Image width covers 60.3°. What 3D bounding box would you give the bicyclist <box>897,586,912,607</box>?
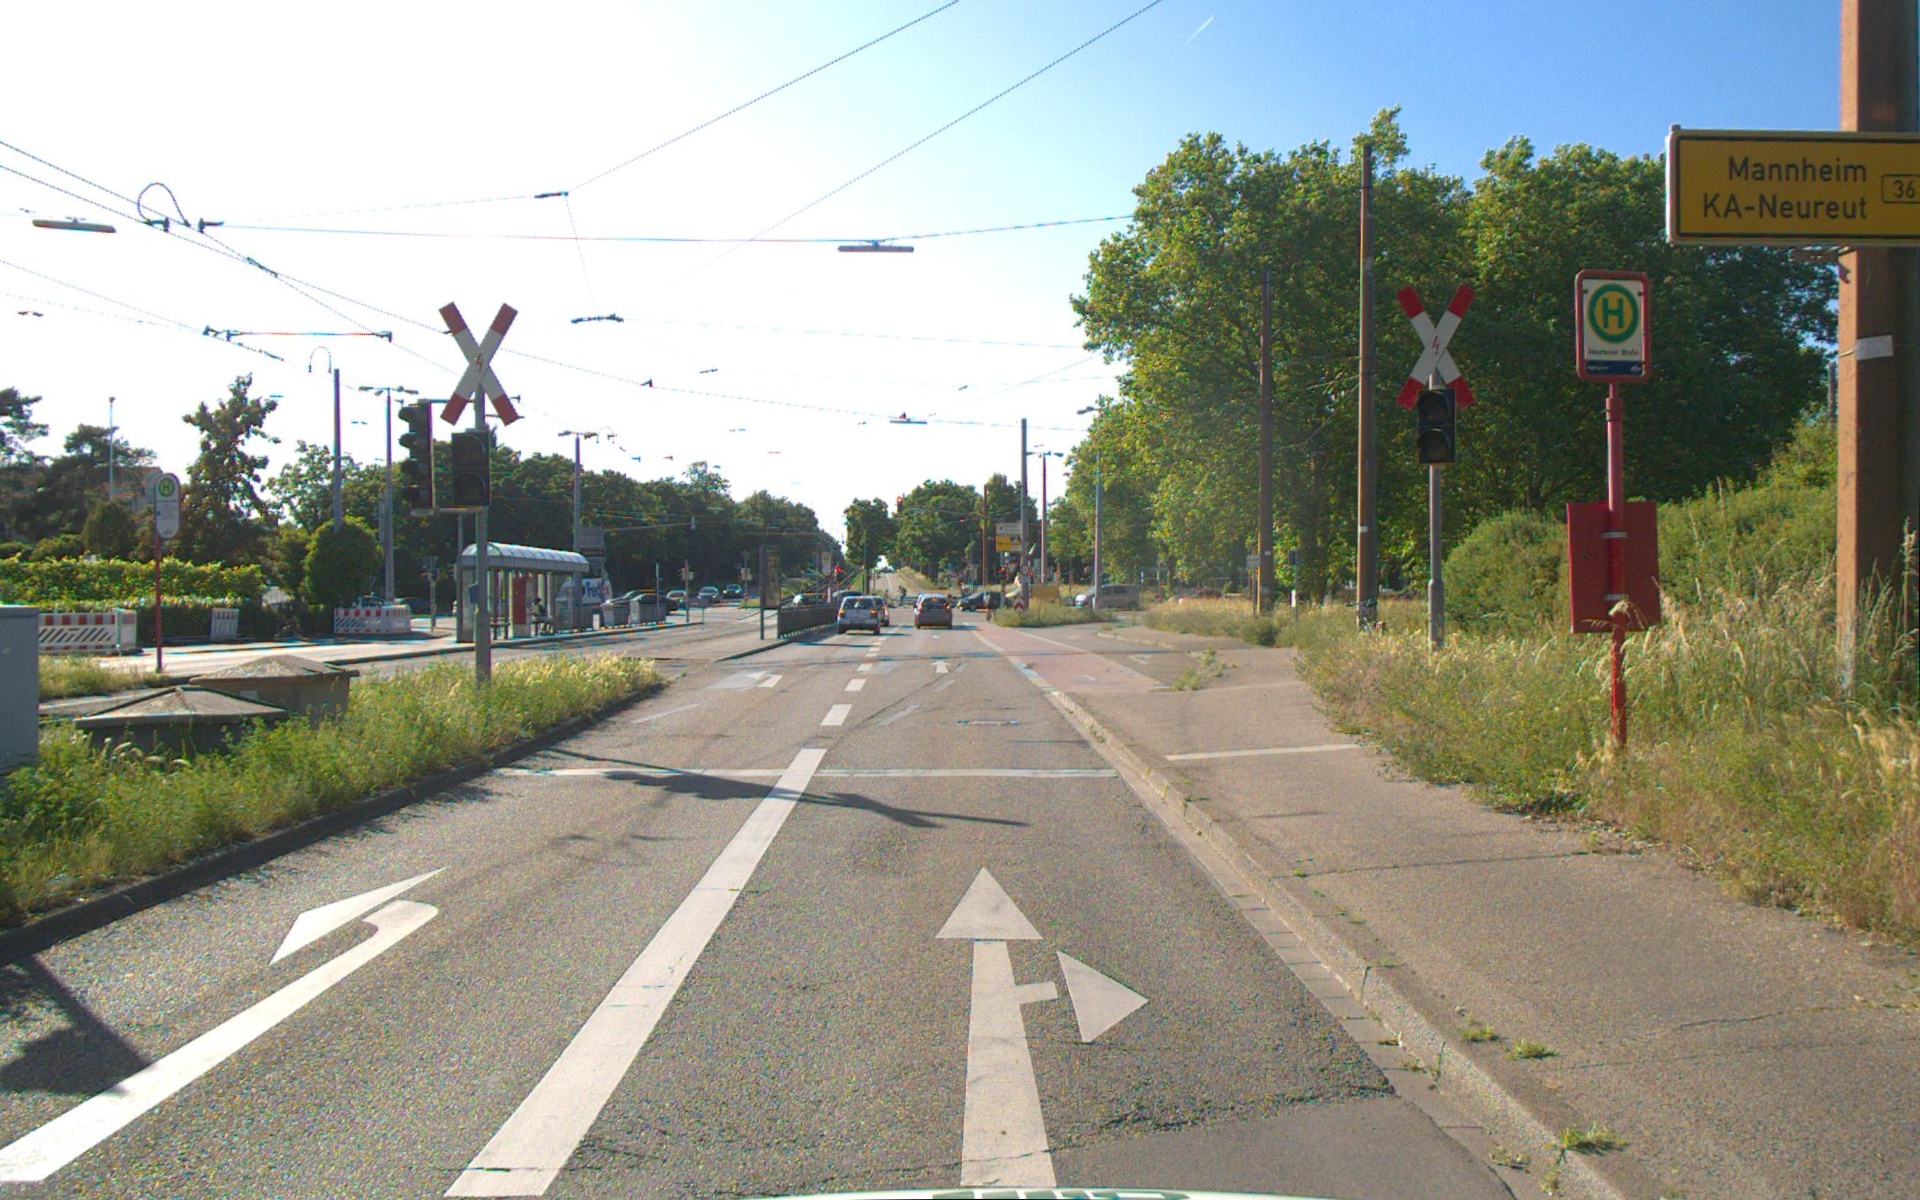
[{"bbox_3d":[-4.427,-0.266,132.411,0.991,1.676,0.813,0,0,-19],"label":"bicyclist"}]

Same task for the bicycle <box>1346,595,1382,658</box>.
[{"bbox_3d":[7.641,0.482,31.272,0.358,1.155,2.095,-1,0,22],"label":"bicycle"}]

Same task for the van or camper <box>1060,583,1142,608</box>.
[{"bbox_3d":[10.414,-0.337,122.290,5.853,1.860,1.997,0,0,-6],"label":"van or camper"}]

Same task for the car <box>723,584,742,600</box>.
[{"bbox_3d":[-23.709,-0.881,172.325,1.956,1.632,4.746,1,0,-8],"label":"car"}]

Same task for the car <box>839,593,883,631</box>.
[{"bbox_3d":[-3.840,0.466,64.562,1.586,1.442,3.350,-1,0,-1],"label":"car"}]

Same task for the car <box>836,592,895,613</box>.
[{"bbox_3d":[-6.951,0.176,121.476,3.932,1.499,1.740,1,-1,-23],"label":"car"}]

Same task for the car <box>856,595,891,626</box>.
[{"bbox_3d":[-4.324,0.522,82.735,1.586,1.483,4.084,1,0,-1],"label":"car"}]

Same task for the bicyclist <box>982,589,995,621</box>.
[{"bbox_3d":[1.600,0.299,91.382,0.652,1.746,0.948,1,-1,-1],"label":"bicyclist"}]

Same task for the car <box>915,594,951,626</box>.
[{"bbox_3d":[-1.266,0.452,77.316,1.635,1.487,3.585,0,0,-1],"label":"car"}]

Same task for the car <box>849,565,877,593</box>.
[{"bbox_3d":[-7.509,-1.582,128.318,1.953,2.049,4.490,1,0,-1],"label":"car"}]

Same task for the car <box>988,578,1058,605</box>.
[{"bbox_3d":[4.866,-0.652,127.315,5.096,1.912,1.982,1,-1,-28],"label":"car"}]

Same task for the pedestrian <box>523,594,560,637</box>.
[{"bbox_3d":[-14.777,0.537,58.428,1.039,1.478,1.007,-1,-1,-2],"label":"pedestrian"}]

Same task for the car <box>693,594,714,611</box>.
[{"bbox_3d":[-23.545,0.211,152.019,1.797,1.575,4.277,-1,0,-7],"label":"car"}]

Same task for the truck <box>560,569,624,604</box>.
[{"bbox_3d":[-28.751,-1.051,129.469,1.951,2.610,6.828,0,0,15],"label":"truck"}]

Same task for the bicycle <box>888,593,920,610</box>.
[{"bbox_3d":[-4.485,0.116,132.397,2.360,1.285,0.813,-1,0,-19],"label":"bicycle"}]

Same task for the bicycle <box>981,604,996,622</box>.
[{"bbox_3d":[1.590,0.712,91.459,0.707,1.006,2.875,1,0,-1],"label":"bicycle"}]
